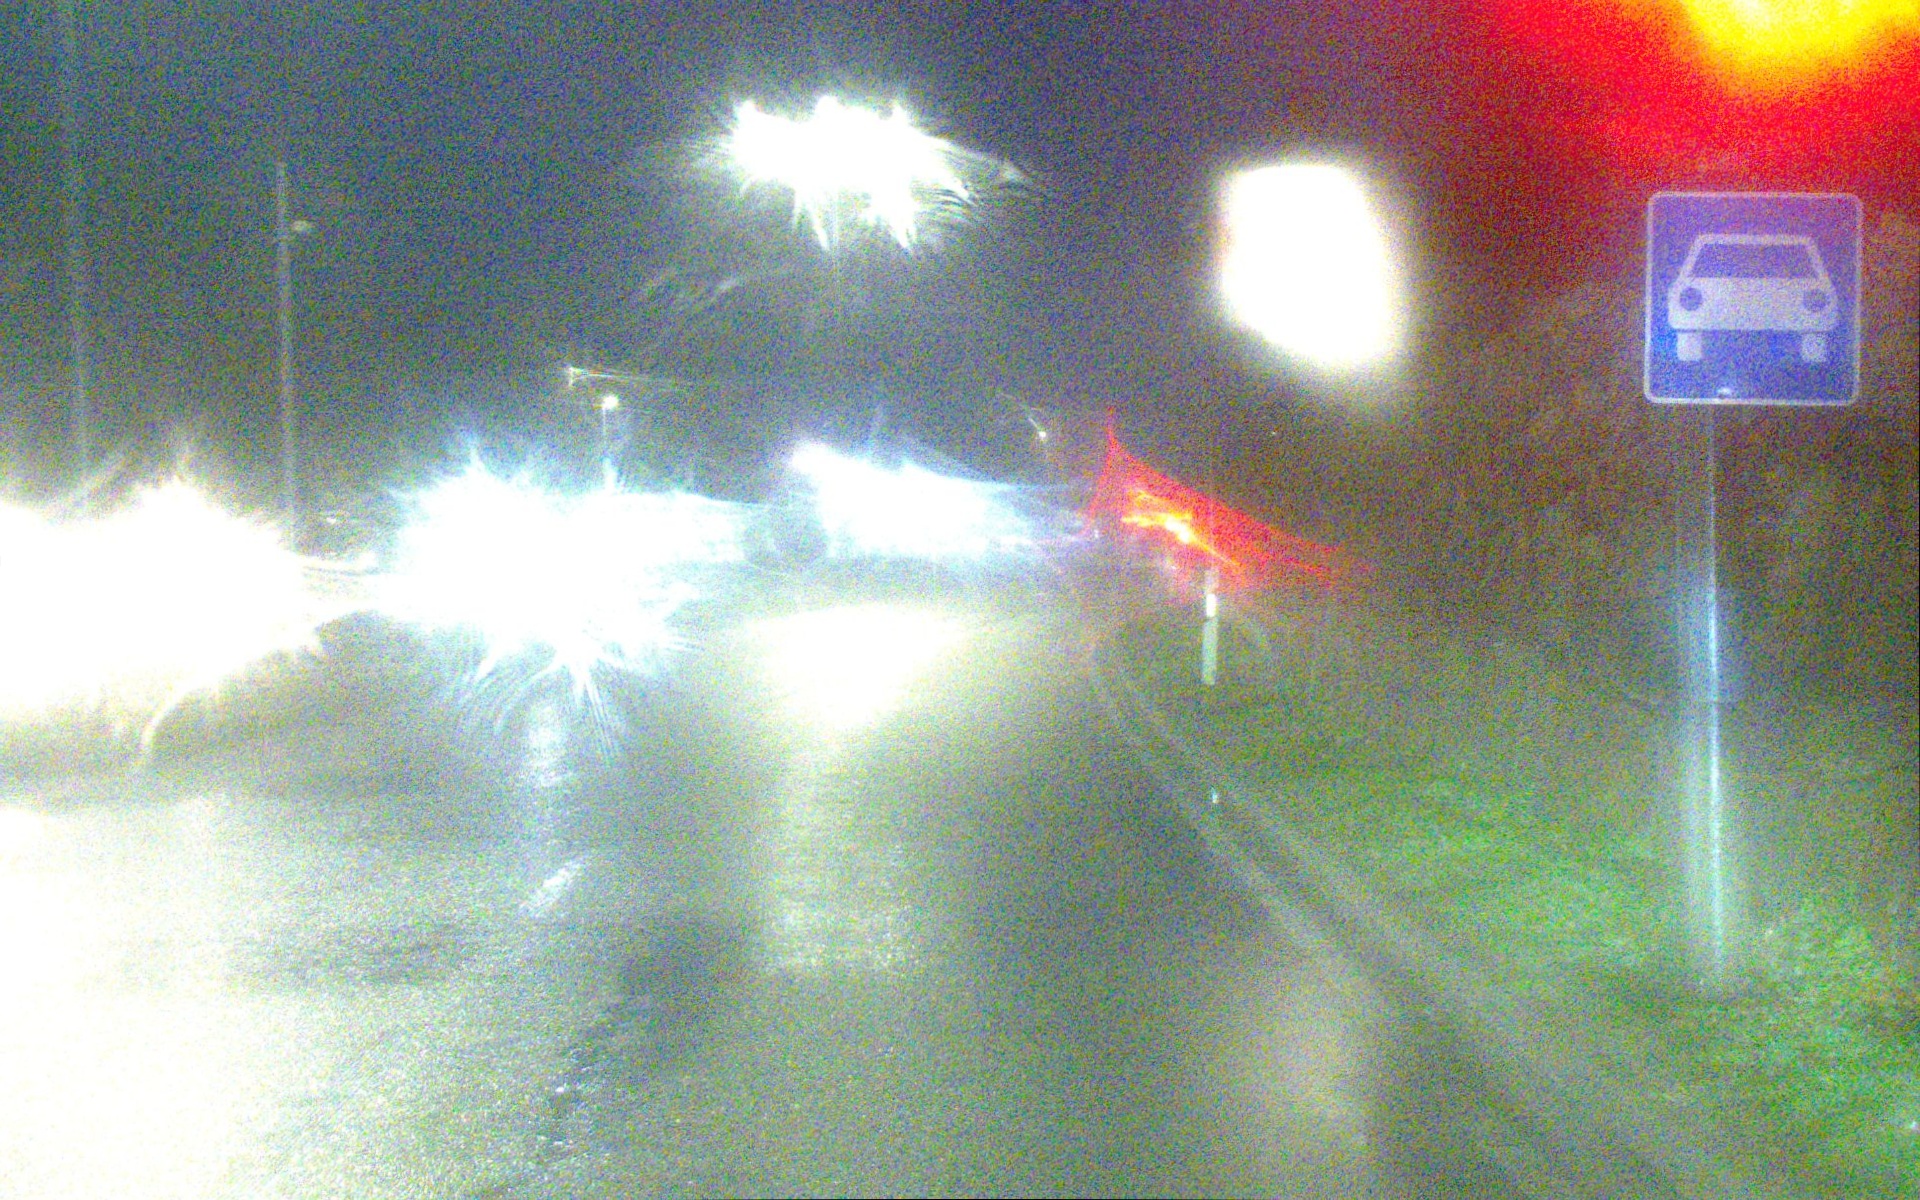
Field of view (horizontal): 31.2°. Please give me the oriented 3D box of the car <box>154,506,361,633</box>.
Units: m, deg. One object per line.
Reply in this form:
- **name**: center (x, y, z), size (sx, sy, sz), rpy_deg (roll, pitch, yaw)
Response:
- **car**: center (-9.736, -0.417, 47.935), size (1.718, 1.697, 4.142), rpy_deg (0, 0, 5)

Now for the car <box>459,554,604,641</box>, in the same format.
- **car**: center (-7.746, -0.051, 62.518), size (1.708, 1.529, 4.599), rpy_deg (0, 0, 5)

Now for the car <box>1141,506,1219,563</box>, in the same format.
- **car**: center (6.487, -1.923, 101.802), size (1.993, 1.605, 4.103), rpy_deg (0, 0, -1)

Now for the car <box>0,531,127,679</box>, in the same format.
- **car**: center (-10.377, 0.051, 37.340), size (1.585, 1.520, 3.651), rpy_deg (0, 0, 3)
